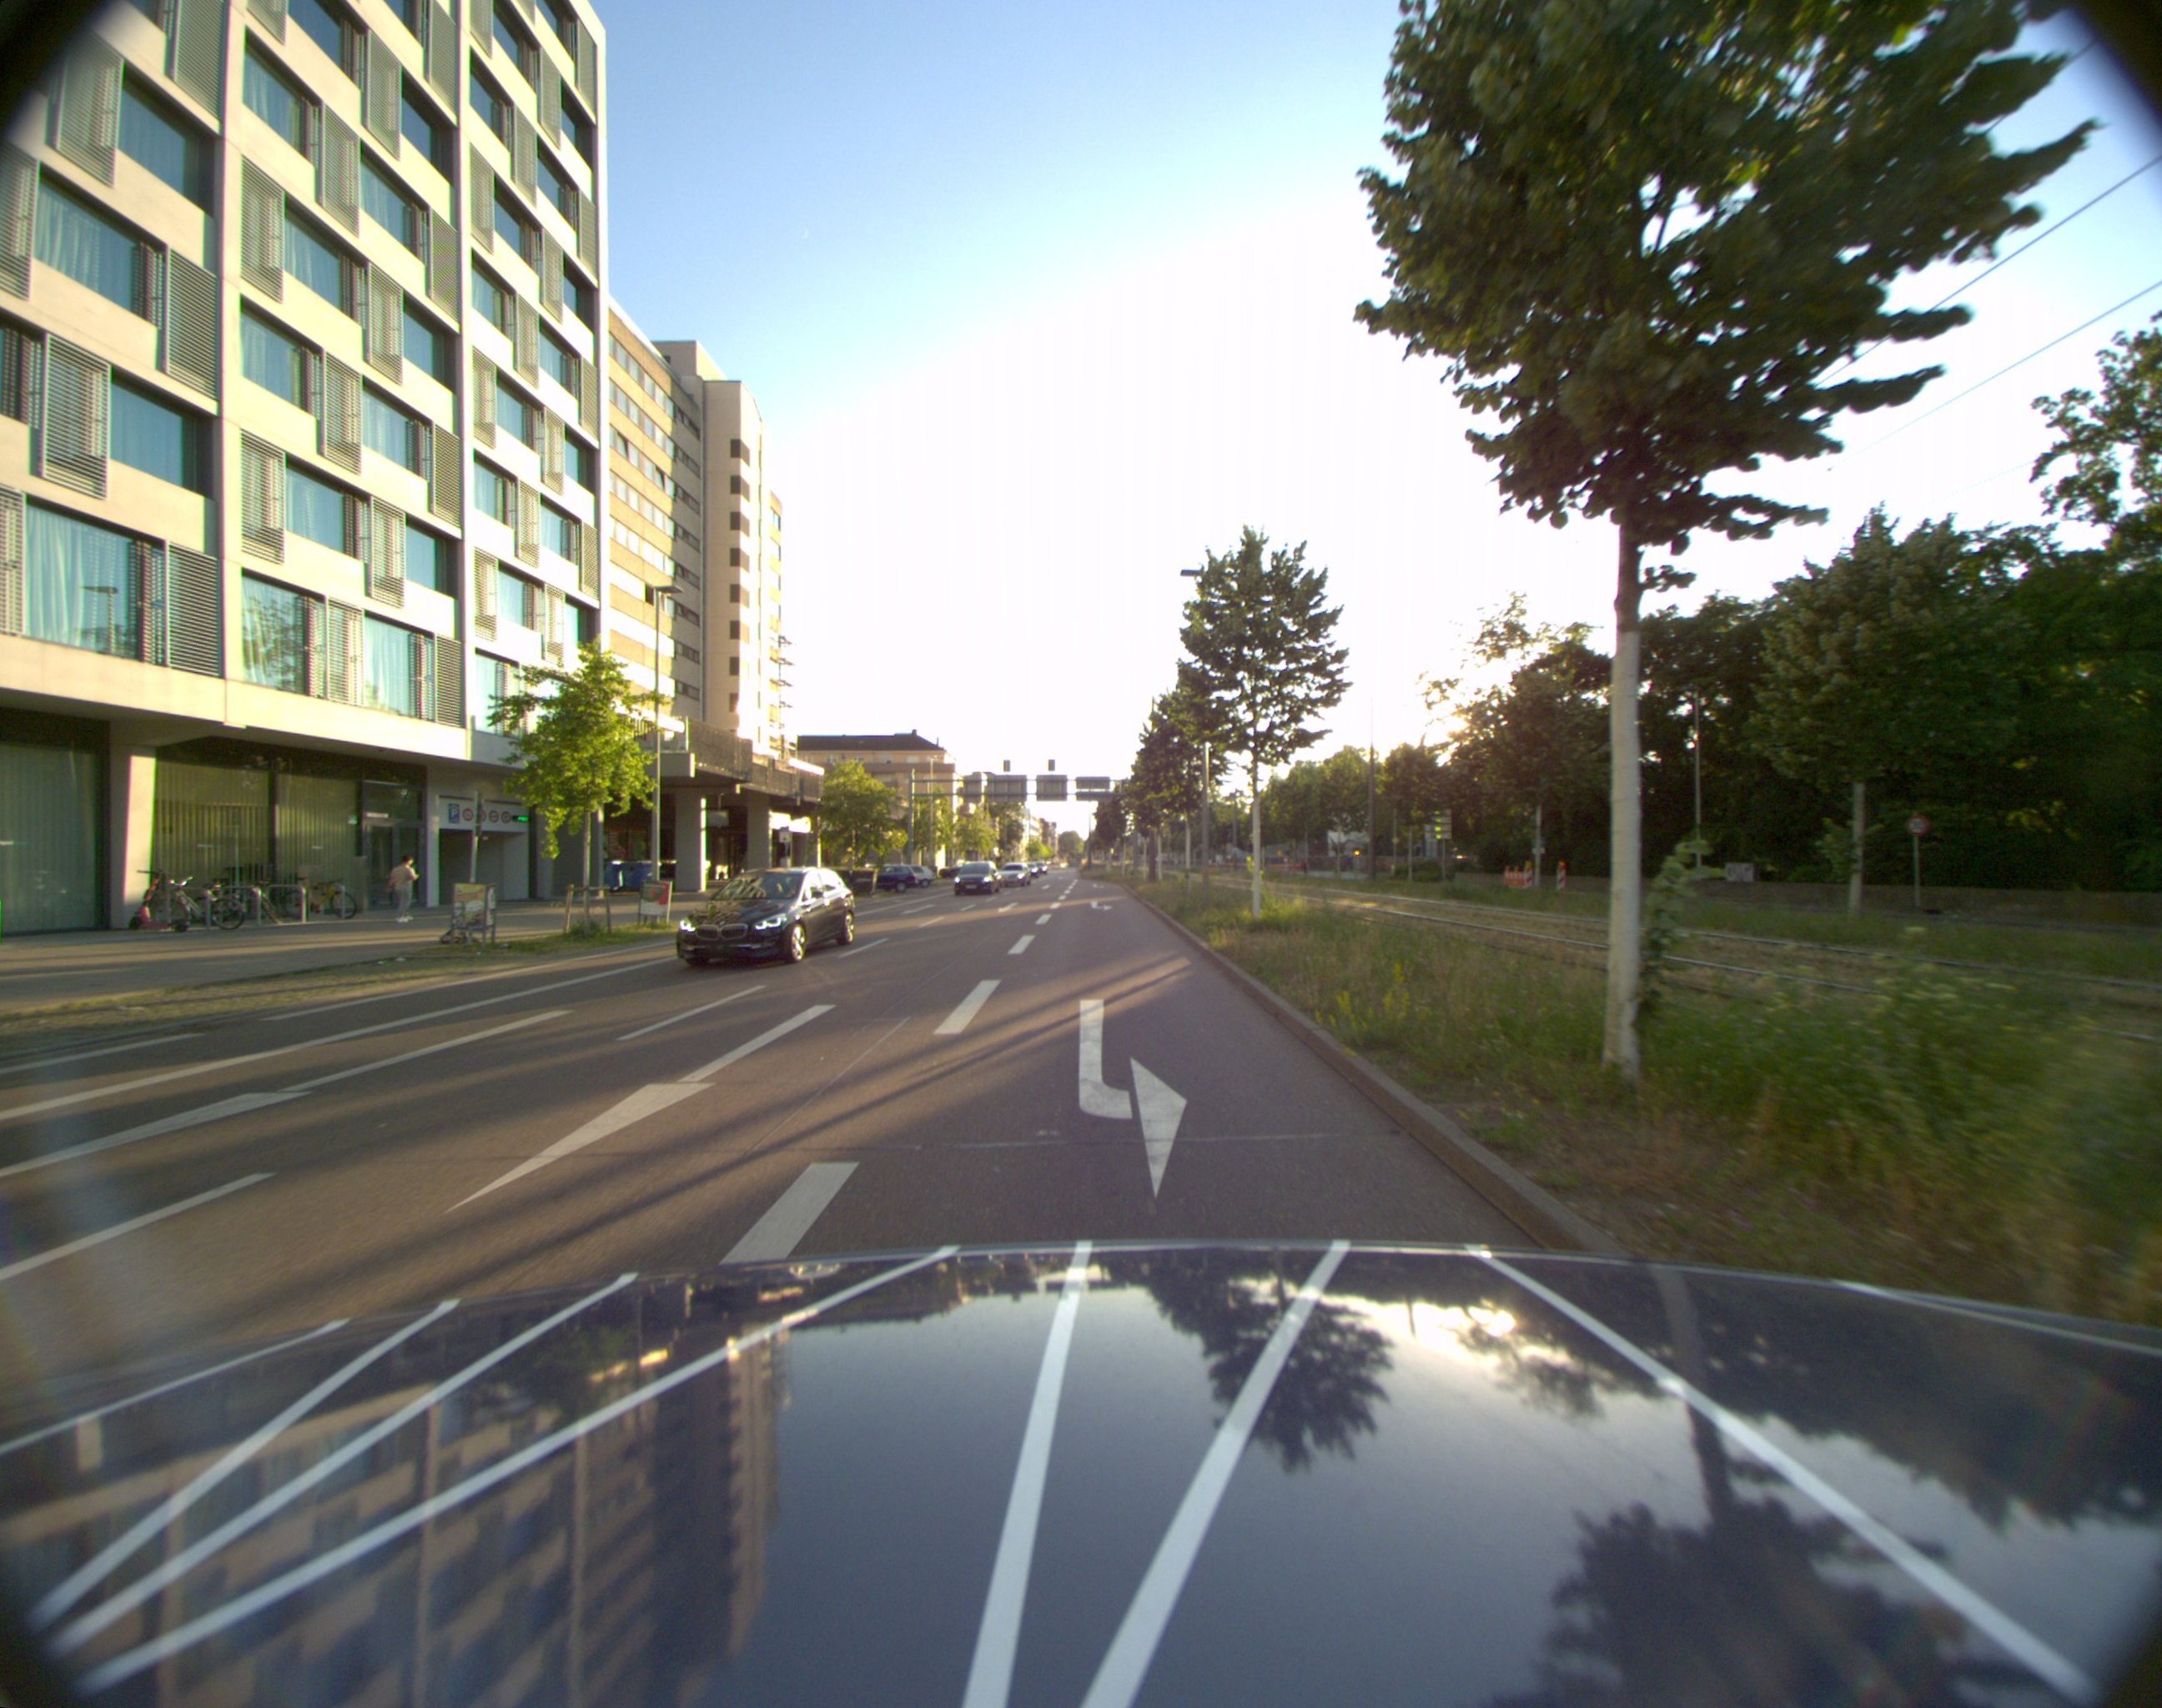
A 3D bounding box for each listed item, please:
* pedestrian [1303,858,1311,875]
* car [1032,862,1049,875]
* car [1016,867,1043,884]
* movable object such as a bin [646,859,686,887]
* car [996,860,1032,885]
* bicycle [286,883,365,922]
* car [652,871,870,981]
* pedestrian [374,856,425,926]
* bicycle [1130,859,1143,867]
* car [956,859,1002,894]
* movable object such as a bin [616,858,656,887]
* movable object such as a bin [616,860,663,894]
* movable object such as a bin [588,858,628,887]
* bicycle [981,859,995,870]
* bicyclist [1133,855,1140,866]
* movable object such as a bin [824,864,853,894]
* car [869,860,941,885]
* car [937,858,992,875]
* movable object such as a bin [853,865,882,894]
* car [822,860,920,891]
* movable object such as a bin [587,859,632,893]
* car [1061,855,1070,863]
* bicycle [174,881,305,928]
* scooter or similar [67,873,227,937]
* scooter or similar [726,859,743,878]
[{"bbox_3d":[21.224,1.195,71.427,0.670,1.597,0.679,-2,-4,15],"label":"pedestrian"},{"bbox_3d":[-4.735,1.671,88.182,1.863,1.387,4.276,-2,0,-3],"label":"car"},{"bbox_3d":[-4.683,1.912,69.797,1.915,1.387,4.277,-2,0,3],"label":"car"},{"bbox_3d":[-19.269,0.865,35.314,1.184,1.291,1.304,0,0,-1],"label":"movable object such as a bin"},{"bbox_3d":[-4.226,1.147,48.679,1.833,1.455,4.303,-2,0,0],"label":"car"},{"bbox_3d":[-17.986,1.155,18.102,1.425,0.886,0.457,0,0,0],"label":"bicycle"},{"bbox_3d":[-5.478,1.135,13.810,1.825,1.510,4.792,-2,0,1],"label":"car"},{"bbox_3d":[-16.125,0.869,17.997,0.577,1.609,0.643,2,0,-2],"label":"pedestrian"},{"bbox_3d":[8.358,1.386,114.128,1.895,1.126,0.717,-2,0,14],"label":"bicycle"},{"bbox_3d":[-5.045,1.074,38.085,1.828,1.589,4.366,-2,0,-2],"label":"car"},{"bbox_3d":[-20.644,0.850,35.260,1.184,1.305,1.124,0,0,-1],"label":"movable object such as a bin"},{"bbox_3d":[-17.974,0.910,30.962,1.107,1.322,1.283,2,0,0],"label":"movable object such as a bin"},{"bbox_3d":[-21.888,0.851,35.209,1.184,1.305,1.088,0,0,-1],"label":"movable object such as a bin"},{"bbox_3d":[-10.552,1.155,86.080,0.821,1.166,2.143,1,0,-27],"label":"bicycle"},{"bbox_3d":[8.342,0.957,114.126,0.943,1.611,0.717,-2,0,14],"label":"bicyclist"},{"bbox_3d":[-11.438,1.187,35.915,1.017,1.339,1.160,3,0,-4],"label":"movable object such as a bin"},{"bbox_3d":[-10.976,1.147,47.431,3.999,1.408,1.746,2,0,-37],"label":"car"},{"bbox_3d":[-10.579,1.117,69.064,4.617,1.444,1.808,2,-1,-40],"label":"car"},{"bbox_3d":[-10.101,1.203,36.001,1.088,1.294,1.360,2,0,-6],"label":"movable object such as a bin"},{"bbox_3d":[-11.238,1.160,40.849,4.679,1.499,1.934,2,0,-39],"label":"car"},{"bbox_3d":[-19.114,0.887,30.846,1.076,1.322,1.202,1,0,0],"label":"movable object such as a bin"},{"bbox_3d":[-3.619,1.160,177.036,1.727,1.909,4.293,-2,0,-3],"label":"car"},{"bbox_3d":[-18.359,1.094,16.611,2.021,0.952,0.620,1,0,-5],"label":"bicycle"},{"bbox_3d":[-18.430,0.994,15.019,2.378,1.176,0.620,1,0,0],"label":"scooter or similar"},{"bbox_3d":[-21.720,0.911,47.639,0.402,1.154,1.829,-2,0,-9],"label":"scooter or similar"}]
